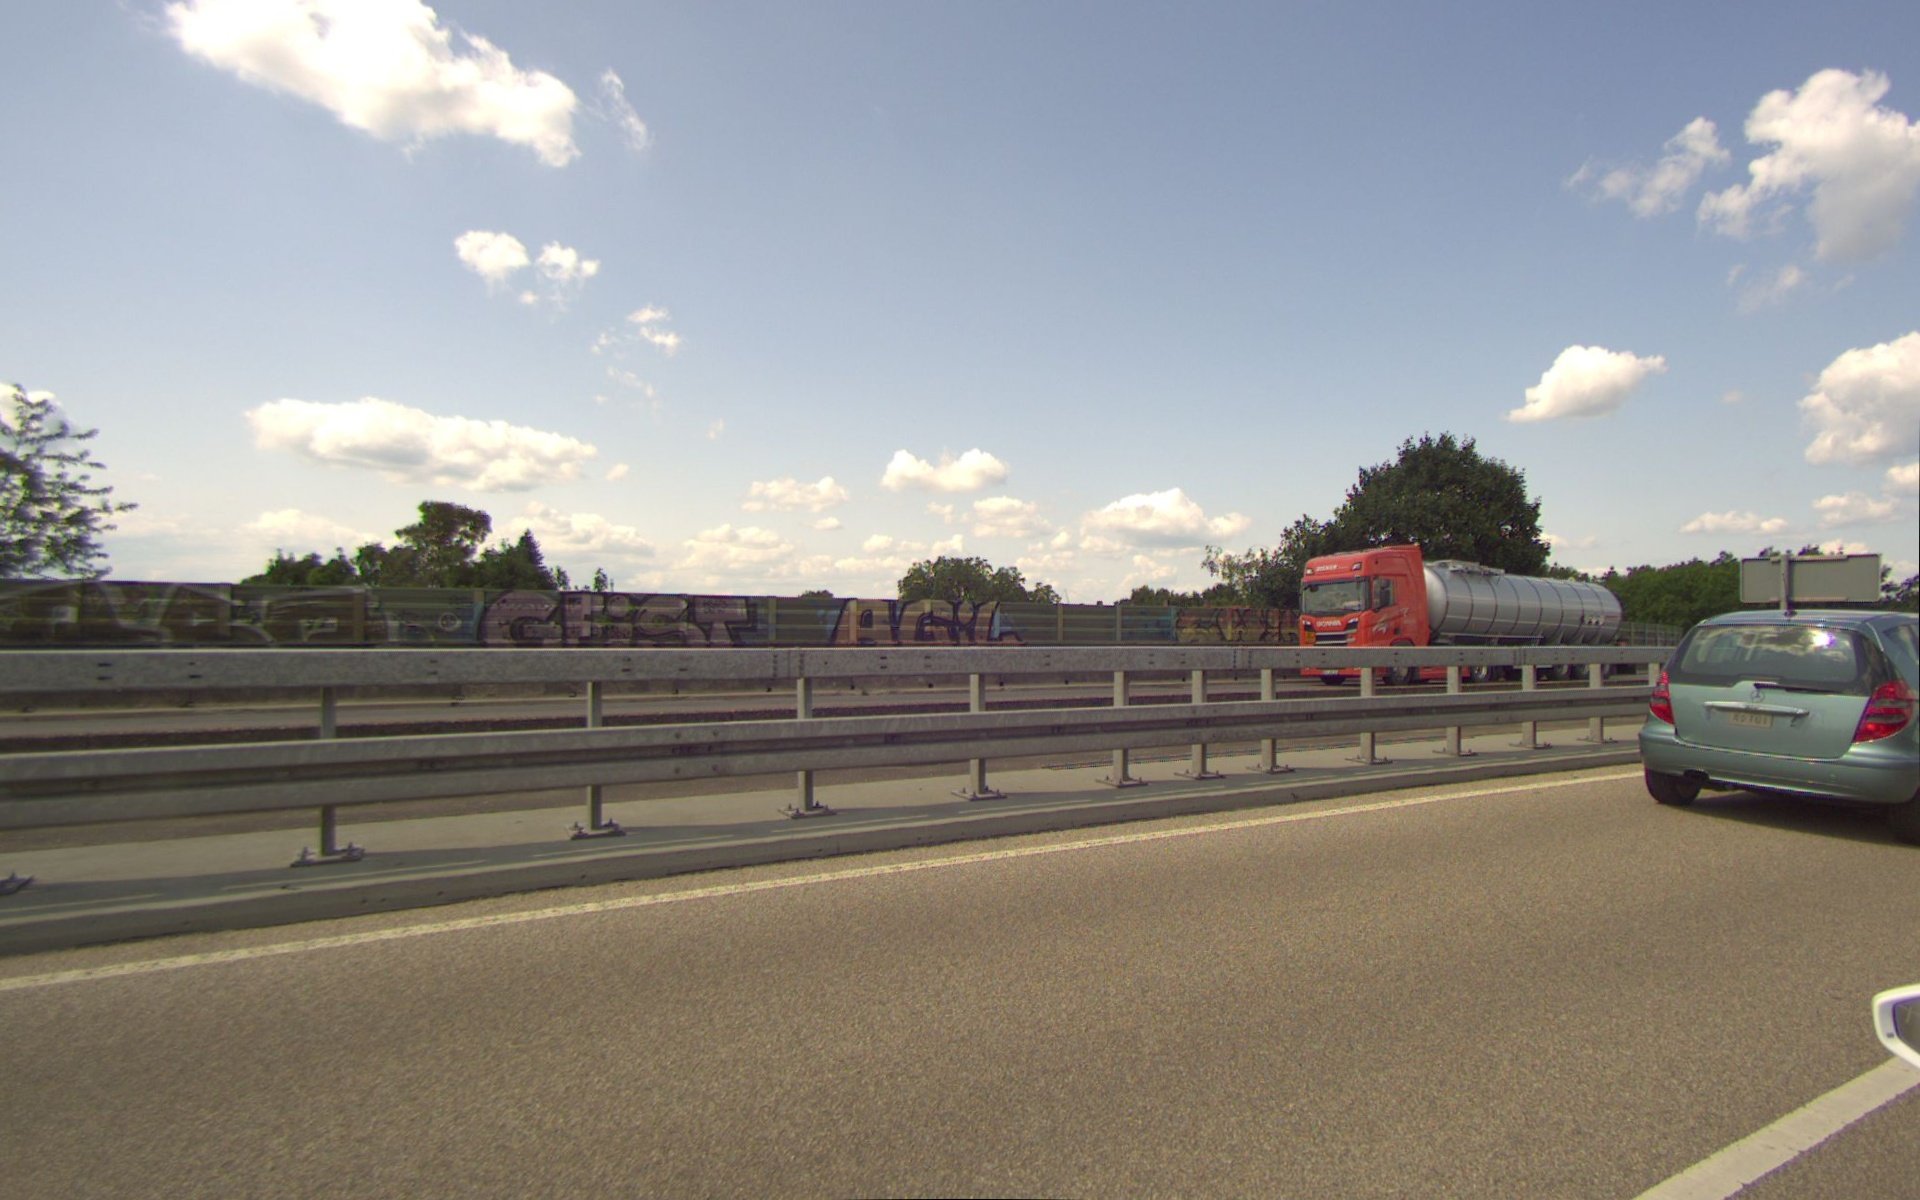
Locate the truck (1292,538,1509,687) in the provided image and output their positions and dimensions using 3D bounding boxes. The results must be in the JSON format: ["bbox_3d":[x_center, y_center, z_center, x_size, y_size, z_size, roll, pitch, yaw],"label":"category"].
[{"bbox_3d":[12.576,0.388,28.554,6.165,3.832,2.633,2,0,-33],"label":"truck"}]

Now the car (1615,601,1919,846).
[{"bbox_3d":[7.280,0.833,8.149,3.953,1.551,1.739,1,-1,-31],"label":"car"}]

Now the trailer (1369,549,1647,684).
[{"bbox_3d":[17.531,0.598,31.689,10.907,3.718,2.670,2,0,-32],"label":"trailer"}]

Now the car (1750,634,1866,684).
[{"bbox_3d":[28.466,1.949,33.698,3.914,1.529,1.774,2,0,-31],"label":"car"}]
